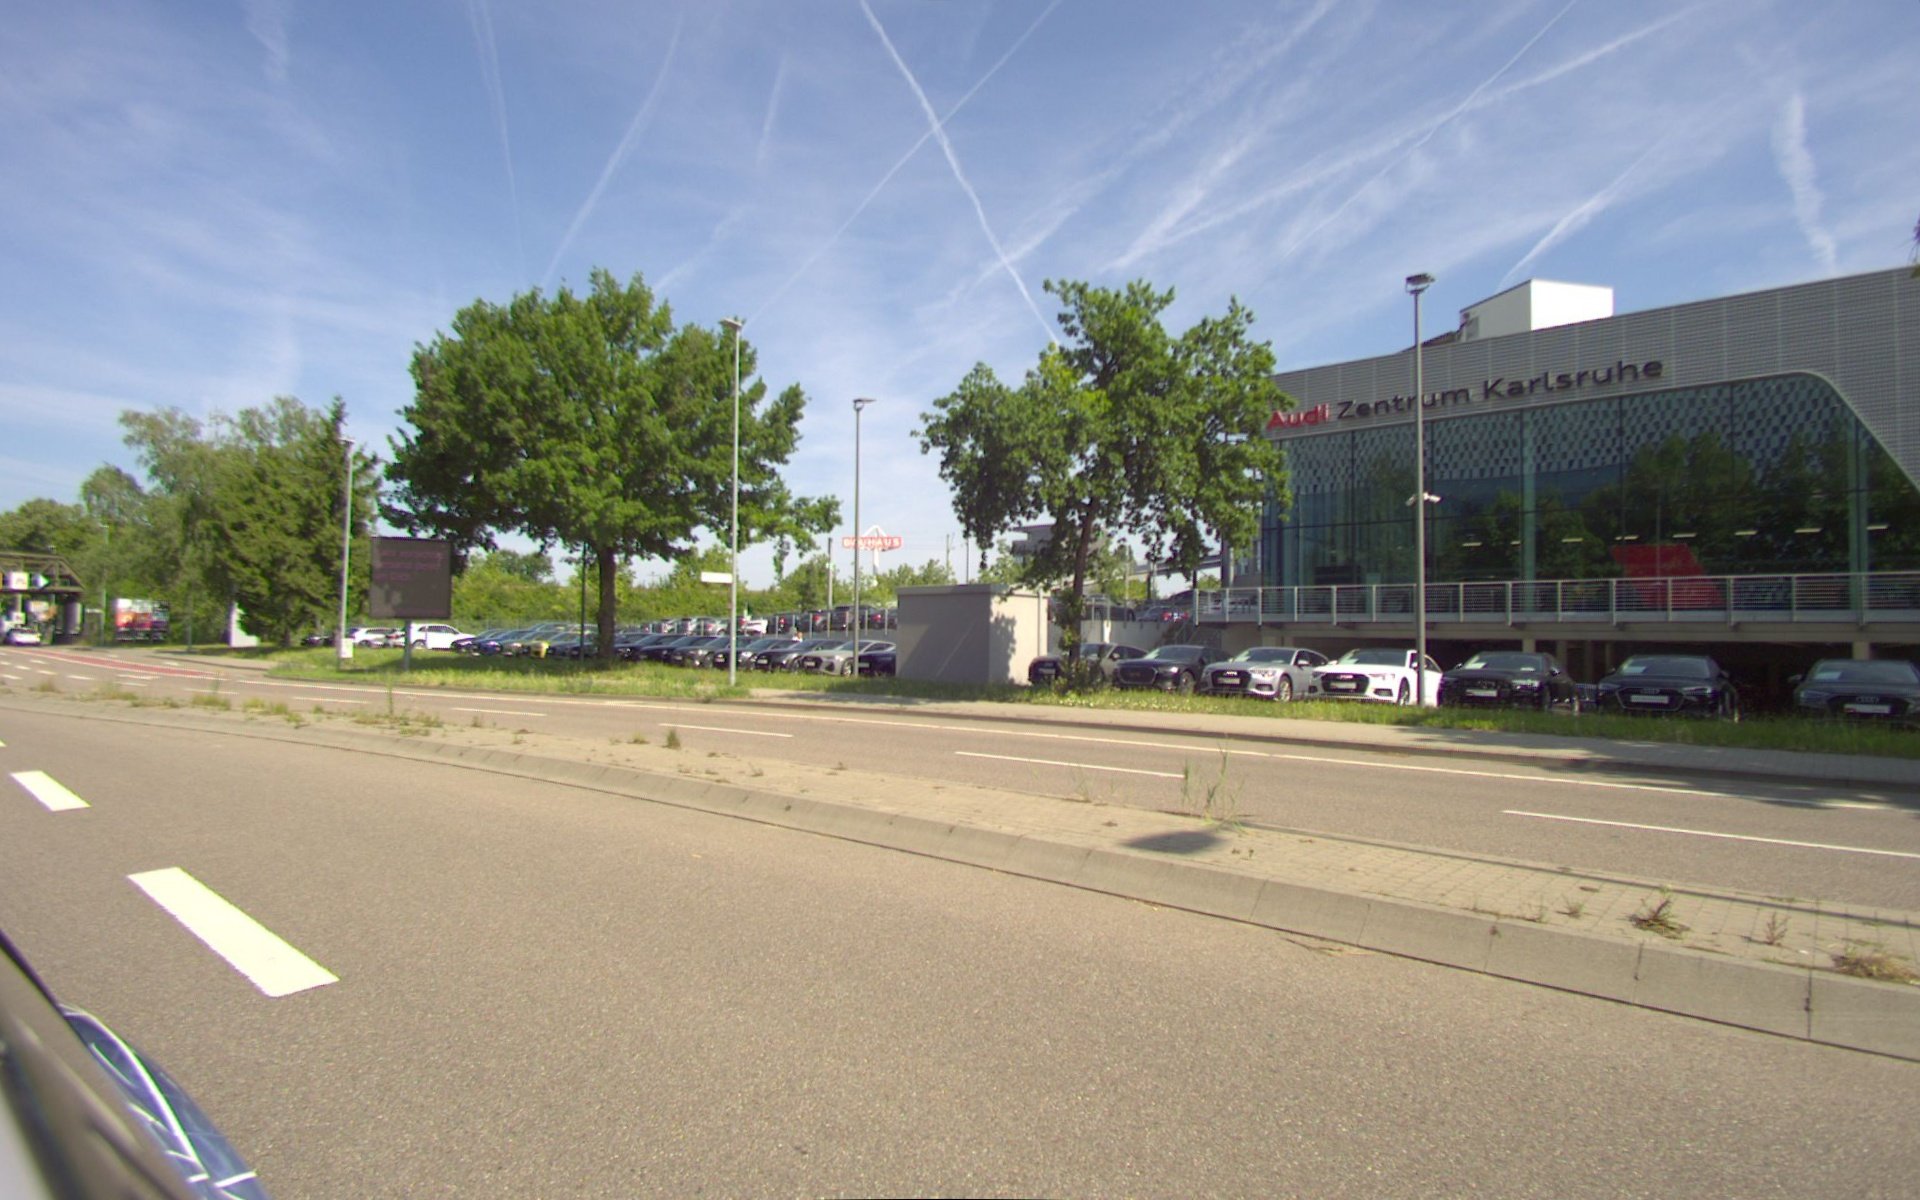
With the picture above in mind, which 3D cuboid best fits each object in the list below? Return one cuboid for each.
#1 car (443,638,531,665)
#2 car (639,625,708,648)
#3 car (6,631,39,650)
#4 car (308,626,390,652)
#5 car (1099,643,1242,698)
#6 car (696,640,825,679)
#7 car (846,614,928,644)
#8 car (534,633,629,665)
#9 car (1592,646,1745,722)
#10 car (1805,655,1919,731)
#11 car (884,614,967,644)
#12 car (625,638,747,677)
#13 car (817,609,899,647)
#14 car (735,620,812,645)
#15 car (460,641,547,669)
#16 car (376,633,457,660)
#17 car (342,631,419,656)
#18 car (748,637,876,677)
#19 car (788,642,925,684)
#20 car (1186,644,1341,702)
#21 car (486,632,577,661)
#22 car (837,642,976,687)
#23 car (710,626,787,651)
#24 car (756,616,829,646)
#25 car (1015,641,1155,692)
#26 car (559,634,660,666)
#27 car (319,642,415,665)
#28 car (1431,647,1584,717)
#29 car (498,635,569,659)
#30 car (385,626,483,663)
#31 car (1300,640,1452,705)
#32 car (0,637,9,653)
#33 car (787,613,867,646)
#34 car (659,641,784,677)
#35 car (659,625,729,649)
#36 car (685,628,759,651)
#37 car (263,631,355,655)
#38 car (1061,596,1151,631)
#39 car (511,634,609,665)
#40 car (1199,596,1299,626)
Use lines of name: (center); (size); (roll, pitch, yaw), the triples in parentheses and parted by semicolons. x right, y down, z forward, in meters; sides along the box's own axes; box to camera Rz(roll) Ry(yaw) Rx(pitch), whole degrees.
car: (-24.625, 2.678, 52.772); (1.743, 1.295, 3.753); (-2, -2, 39)
car: (-19.485, 2.462, 68.864); (1.997, 1.488, 4.162); (-2, -2, 38)
car: (-83.880, 3.642, 90.499); (1.970, 1.630, 4.107); (5, -5, -44)
car: (-39.215, 2.466, 65.014); (1.999, 1.558, 4.169); (-2, -2, 41)
car: (5.343, 1.786, 25.324); (1.895, 1.165, 3.947); (-2, -6, 39)
car: (-7.231, 2.155, 37.102); (1.918, 1.300, 4.454); (-1, -3, 39)
car: (-3.966, 1.608, 55.428); (1.978, 1.563, 4.454); (-1, -3, 39)
car: (-17.151, 2.238, 45.955); (1.863, 1.295, 3.558); (-2, -5, 39)
car: (12.943, 1.561, 18.386); (1.953, 1.199, 4.132); (-2, -6, 39)
car: (15.080, 1.562, 16.483); (1.953, 1.086, 4.132); (-2, -6, 39)
car: (-1.785, 1.586, 53.650); (1.978, 1.496, 4.454); (-1, -3, 39)
car: (-10.934, 2.291, 40.701); (1.918, 1.487, 4.454); (-1, -3, 39)
car: (-5.690, 1.601, 56.814); (1.978, 1.977, 4.454); (-1, -3, 39)
car: (-11.453, 2.017, 62.325); (1.978, 1.496, 4.454); (-1, -3, 39)
car: (-22.912, 2.762, 50.902); (1.743, 1.295, 3.558); (-2, -5, 39)
car: (-32.624, 2.783, 60.766); (1.848, 1.497, 3.941); (-2, -2, 45)
car: (-35.066, 2.608, 61.286); (1.816, 1.381, 3.641); (-2, -2, 41)
car: (-5.079, 1.982, 35.328); (1.690, 1.300, 4.454); (-1, -3, 39)
car: (-3.379, 2.067, 33.752); (2.002, 1.300, 4.454); (-1, -3, 39)
car: (7.223, 1.744, 23.825); (2.085, 1.165, 4.132); (-2, -6, 39)
car: (-20.852, 2.289, 49.341); (1.661, 1.295, 3.704); (-2, -5, 39)
car: (-1.625, 2.009, 32.113); (1.918, 1.300, 4.454); (-1, -3, 39)
car: (-13.277, 2.426, 63.774); (1.978, 1.496, 4.454); (-1, -3, 39)
car: (-9.964, 1.902, 60.516); (1.663, 1.718, 4.225); (-1, -3, 39)
car: (3.422, 1.798, 27.107); (1.895, 1.165, 3.947); (-2, -6, 39)
car: (-15.290, 2.202, 44.207); (1.984, 1.295, 3.643); (-2, -5, 39)
car: (-36.815, 3.321, 62.940); (1.999, 1.278, 4.800); (-2, -2, 41)
car: (11.018, 1.671, 20.248); (1.953, 1.199, 4.132); (-2, -6, 39)
car: (-29.722, 3.239, 70.580); (1.804, 1.576, 4.199); (-2, -2, 40)
car: (-29.199, 2.441, 56.251); (2.000, 1.889, 4.415); (-2, -2, 42)
car: (9.124, 1.606, 22.013); (1.953, 1.199, 4.132); (-2, -6, 39)
car: (-94.492, 4.355, 98.984); (4.025, 1.530, 1.680); (-2, -5, 41)
car: (-7.706, 1.741, 58.792); (1.978, 1.829, 4.454); (-1, -3, 39)
car: (-9.153, 2.247, 39.077); (1.918, 1.300, 4.454); (-1, -3, 39)
car: (-17.576, 2.427, 67.100); (1.997, 1.488, 4.162); (-2, -2, 38)
car: (-15.350, 2.519, 65.401); (1.889, 1.429, 4.455); (-2, -2, 39)
car: (-42.097, 2.757, 65.496); (1.999, 1.400, 4.638); (-2, -2, 41)
car: (6.734, 0.630, 46.381); (1.985, 1.507, 4.472); (-2, -2, 41)
car: (-18.822, 2.349, 47.762); (1.838, 1.351, 3.848); (-2, -5, 39)
car: (14.951, 0.579, 52.438); (4.590, 1.475, 1.928); (0, -1, -10)
